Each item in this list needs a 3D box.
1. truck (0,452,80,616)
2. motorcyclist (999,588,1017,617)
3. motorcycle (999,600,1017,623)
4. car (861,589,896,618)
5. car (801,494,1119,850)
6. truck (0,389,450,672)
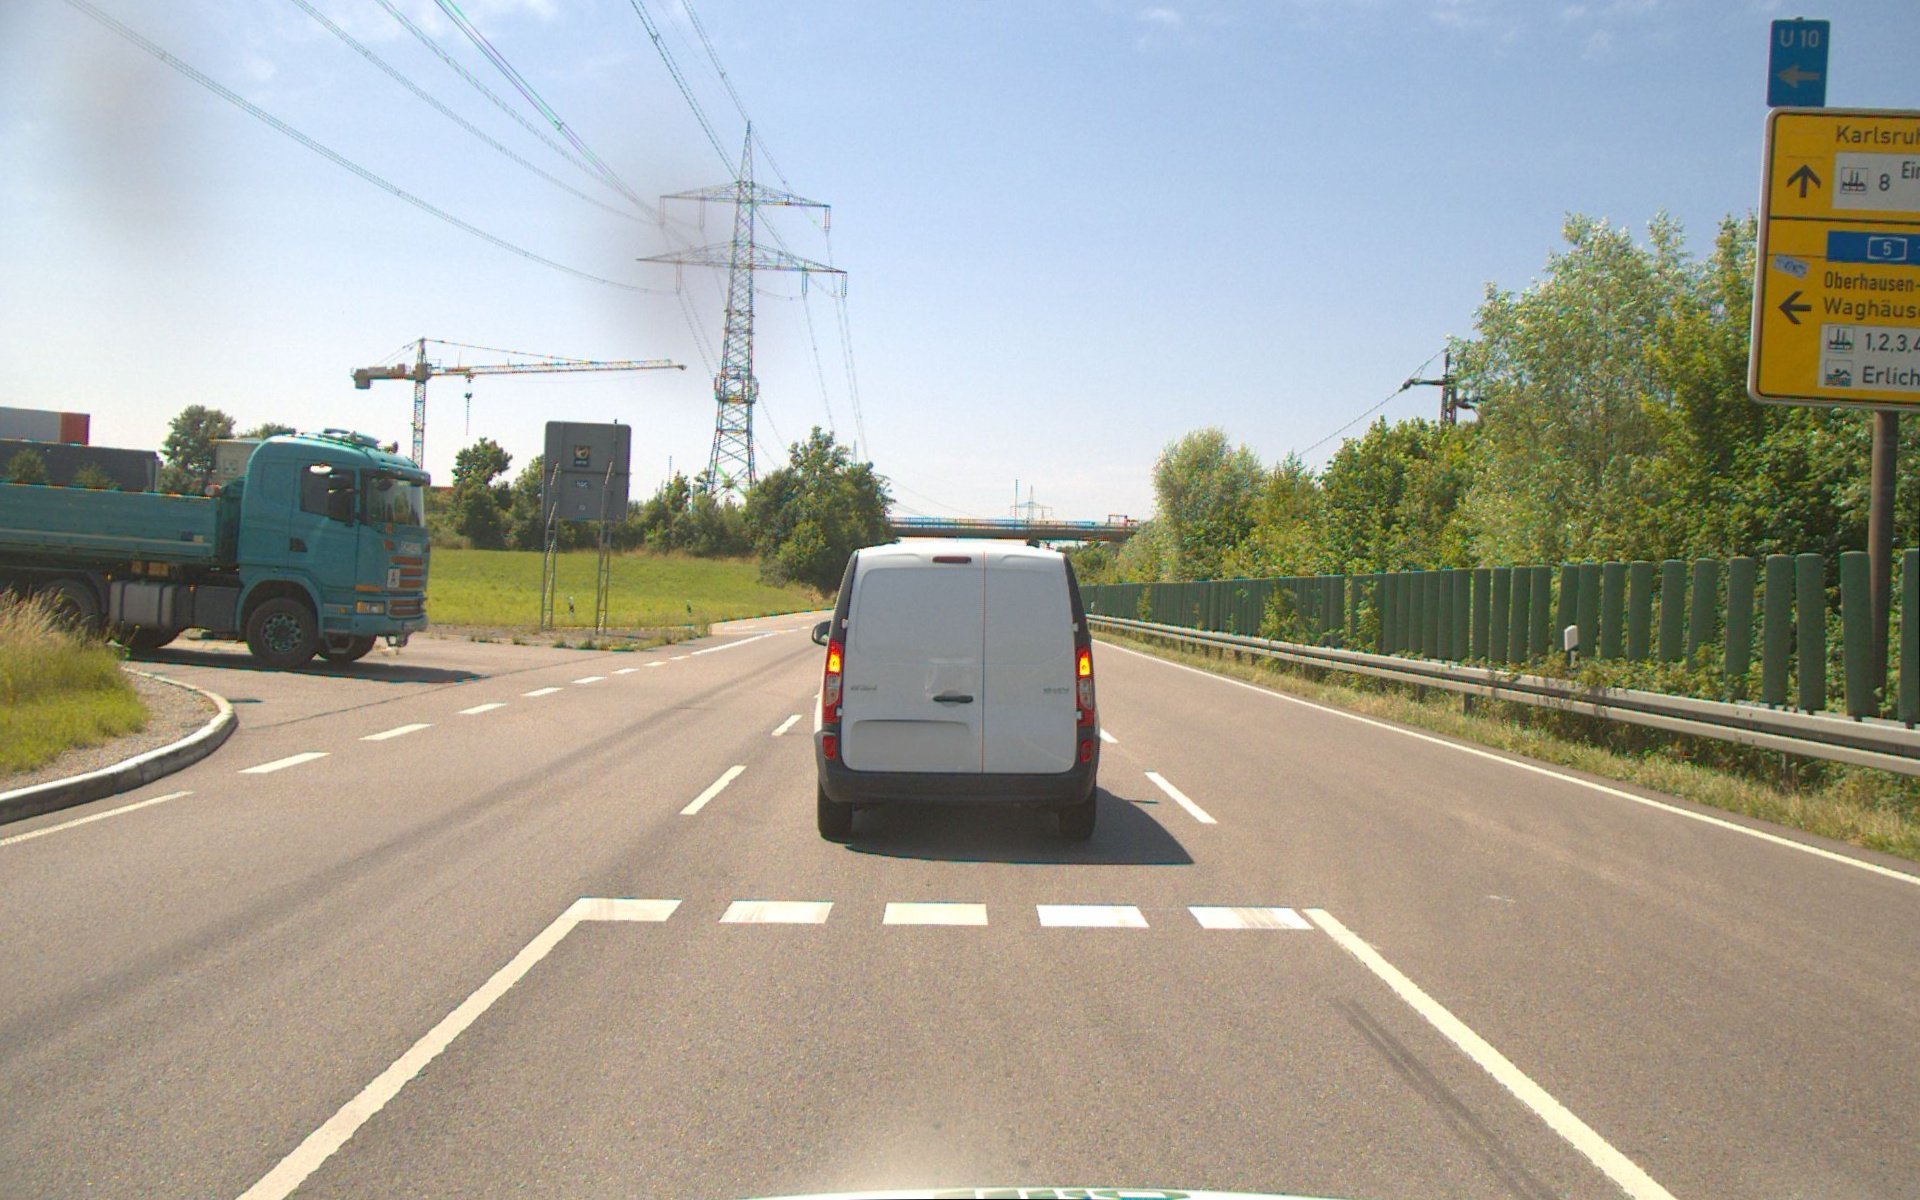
[{"bbox_3d":[-24.197,-1.496,35.339,9.464,3.345,2.831,2,1,5],"label":"truck"},{"bbox_3d":[2.543,0.124,87.060,0.871,1.502,1.002,1,0,-1],"label":"motorcyclist"},{"bbox_3d":[2.520,0.591,86.949,0.774,1.178,1.901,2,0,-2],"label":"motorcycle"},{"bbox_3d":[-4.417,0.181,90.422,1.746,1.489,3.999,2,0,-1],"label":"car"},{"bbox_3d":[-0.032,0.404,11.433,1.790,2.005,3.999,1,0,-1],"label":"car"},{"bbox_3d":[-12.272,-1.096,25.601,7.742,3.799,2.499,4,0,1],"label":"truck"}]
